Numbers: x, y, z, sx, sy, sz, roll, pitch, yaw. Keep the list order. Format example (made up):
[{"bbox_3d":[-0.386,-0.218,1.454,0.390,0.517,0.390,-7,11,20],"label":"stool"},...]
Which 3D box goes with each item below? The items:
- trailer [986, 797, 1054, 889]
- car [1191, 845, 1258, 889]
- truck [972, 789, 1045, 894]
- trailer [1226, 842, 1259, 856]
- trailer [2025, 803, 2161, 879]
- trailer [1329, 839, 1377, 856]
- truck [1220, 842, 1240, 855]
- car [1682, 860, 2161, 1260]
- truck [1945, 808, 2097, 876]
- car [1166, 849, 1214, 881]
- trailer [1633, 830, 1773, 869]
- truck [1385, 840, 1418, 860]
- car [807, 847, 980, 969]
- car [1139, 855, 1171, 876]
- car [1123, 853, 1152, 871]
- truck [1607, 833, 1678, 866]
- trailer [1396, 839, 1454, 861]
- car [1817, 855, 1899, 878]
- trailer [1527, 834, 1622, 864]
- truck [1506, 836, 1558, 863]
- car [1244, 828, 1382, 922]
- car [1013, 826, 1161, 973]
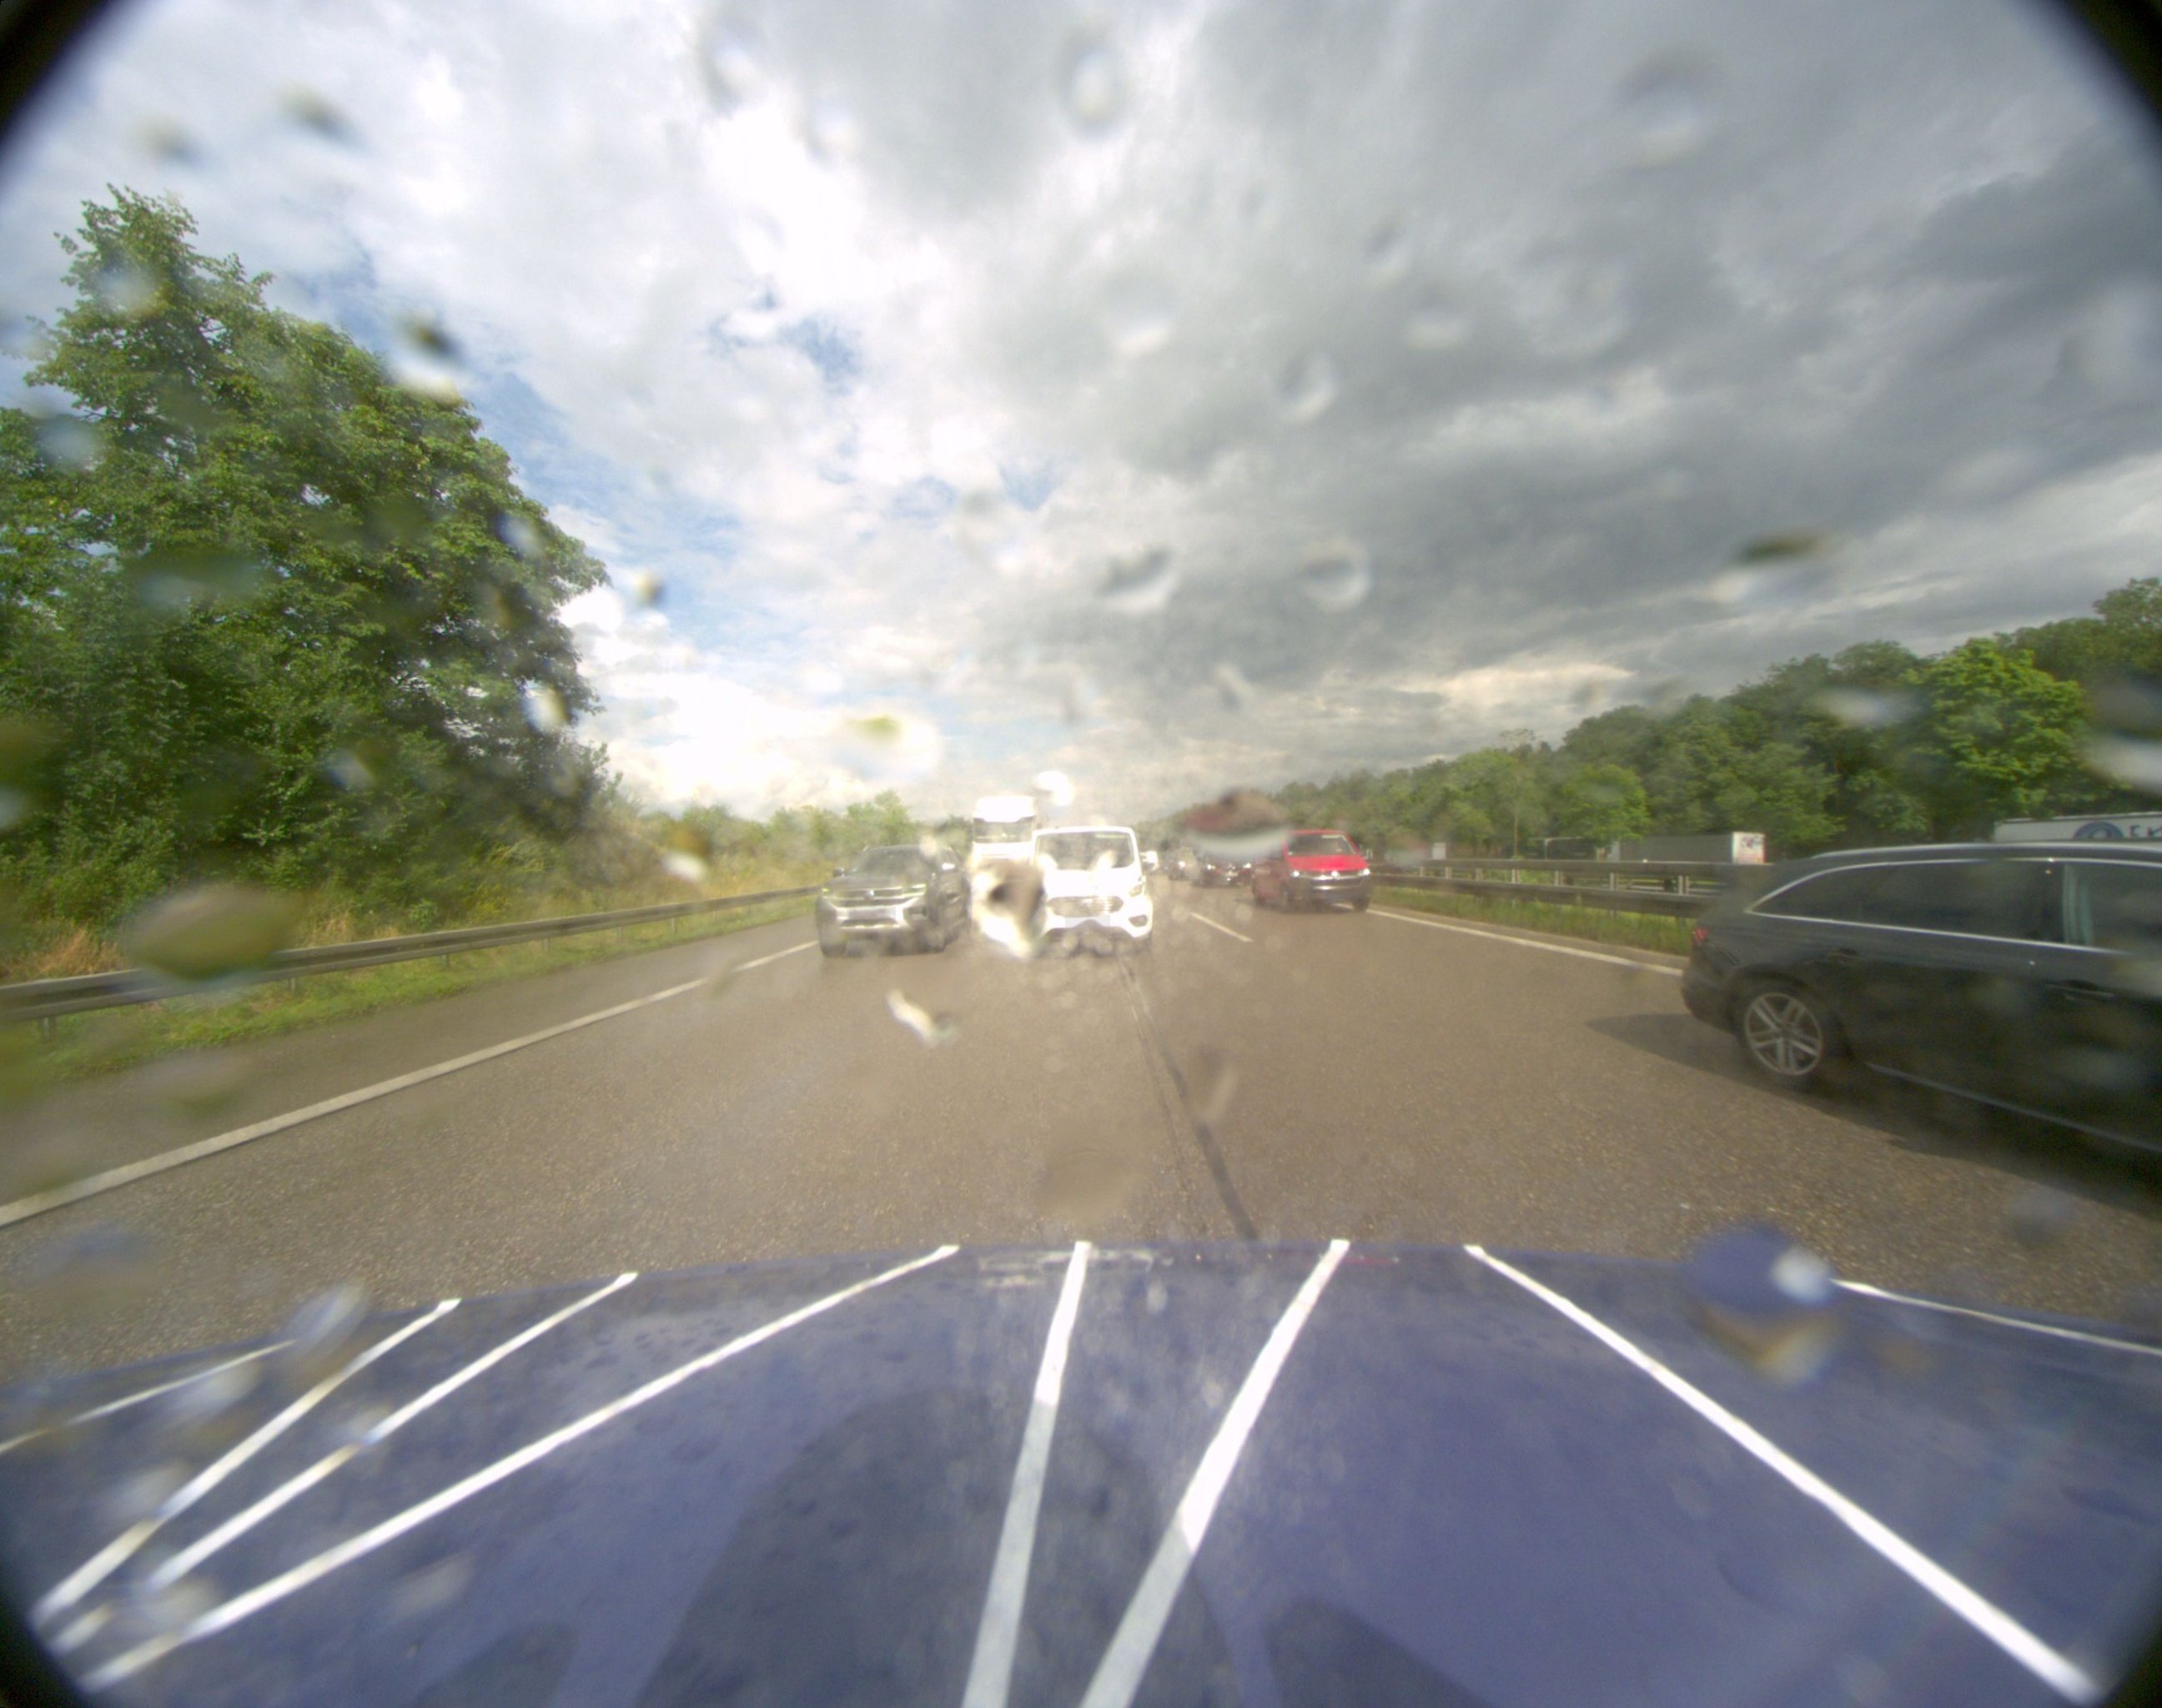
[{"bbox_3d":[-2.976,-0.566,40.517,2.451,4.095,12.214,-2,1,0],"label":"trailer"},{"bbox_3d":[5.811,0.487,31.330,1.895,1.660,4.294,-2,1,0],"label":"car"},{"bbox_3d":[-3.000,-0.500,32.638,2.460,4.080,5.332,-2,0,0],"label":"truck"},{"bbox_3d":[41.787,-1.313,197.539,2.707,3.492,13.403,0,0,-14],"label":"trailer"},{"bbox_3d":[52.027,-0.622,35.665,2.187,3.579,11.725,0,0,8],"label":"trailer"},{"bbox_3d":[52.395,-1.248,146.814,3.086,3.253,13.400,0,0,-7],"label":"trailer"},{"bbox_3d":[40.042,-1.353,204.493,2.700,3.462,6.332,0,0,-14],"label":"truck"},{"bbox_3d":[4.857,0.783,2.806,1.723,1.403,4.467,-2,0,0],"label":"car"},{"bbox_3d":[53.008,-0.657,43.085,2.167,3.599,5.581,0,1,8],"label":"truck"},{"bbox_3d":[5.695,0.536,40.132,1.895,1.558,4.053,-2,0,0],"label":"car"},{"bbox_3d":[55.770,-0.413,68.815,3.027,3.174,12.175,0,0,2],"label":"trailer"},{"bbox_3d":[54.650,-0.739,129.873,3.182,3.237,5.389,1,1,-2],"label":"truck"},{"bbox_3d":[-3.158,0.795,14.038,1.831,1.793,5.305,-1,0,0],"label":"car"},{"bbox_3d":[4.839,0.720,49.945,1.675,1.228,3.999,-2,0,0],"label":"car"},{"bbox_3d":[4.445,0.602,59.872,1.888,1.228,4.506,-2,0,0],"label":"car"},{"bbox_3d":[56.179,-0.454,76.171,3.049,3.165,5.597,0,0,2],"label":"truck"},{"bbox_3d":[54.996,-0.684,122.052,3.193,3.253,12.644,0,0,-2],"label":"trailer"},{"bbox_3d":[54.544,0.837,53.448,1.899,1.494,4.001,0,0,4],"label":"car"},{"bbox_3d":[56.206,-0.558,87.194,2.611,3.253,12.646,0,0,0],"label":"trailer"},{"bbox_3d":[56.176,-0.624,94.821,2.582,3.232,6.535,0,1,0],"label":"truck"},{"bbox_3d":[5.525,0.445,18.764,1.895,1.973,4.750,-2,0,0],"label":"car"},{"bbox_3d":[0.080,0.622,13.088,1.985,1.973,5.168,-2,0,0],"label":"car"}]
